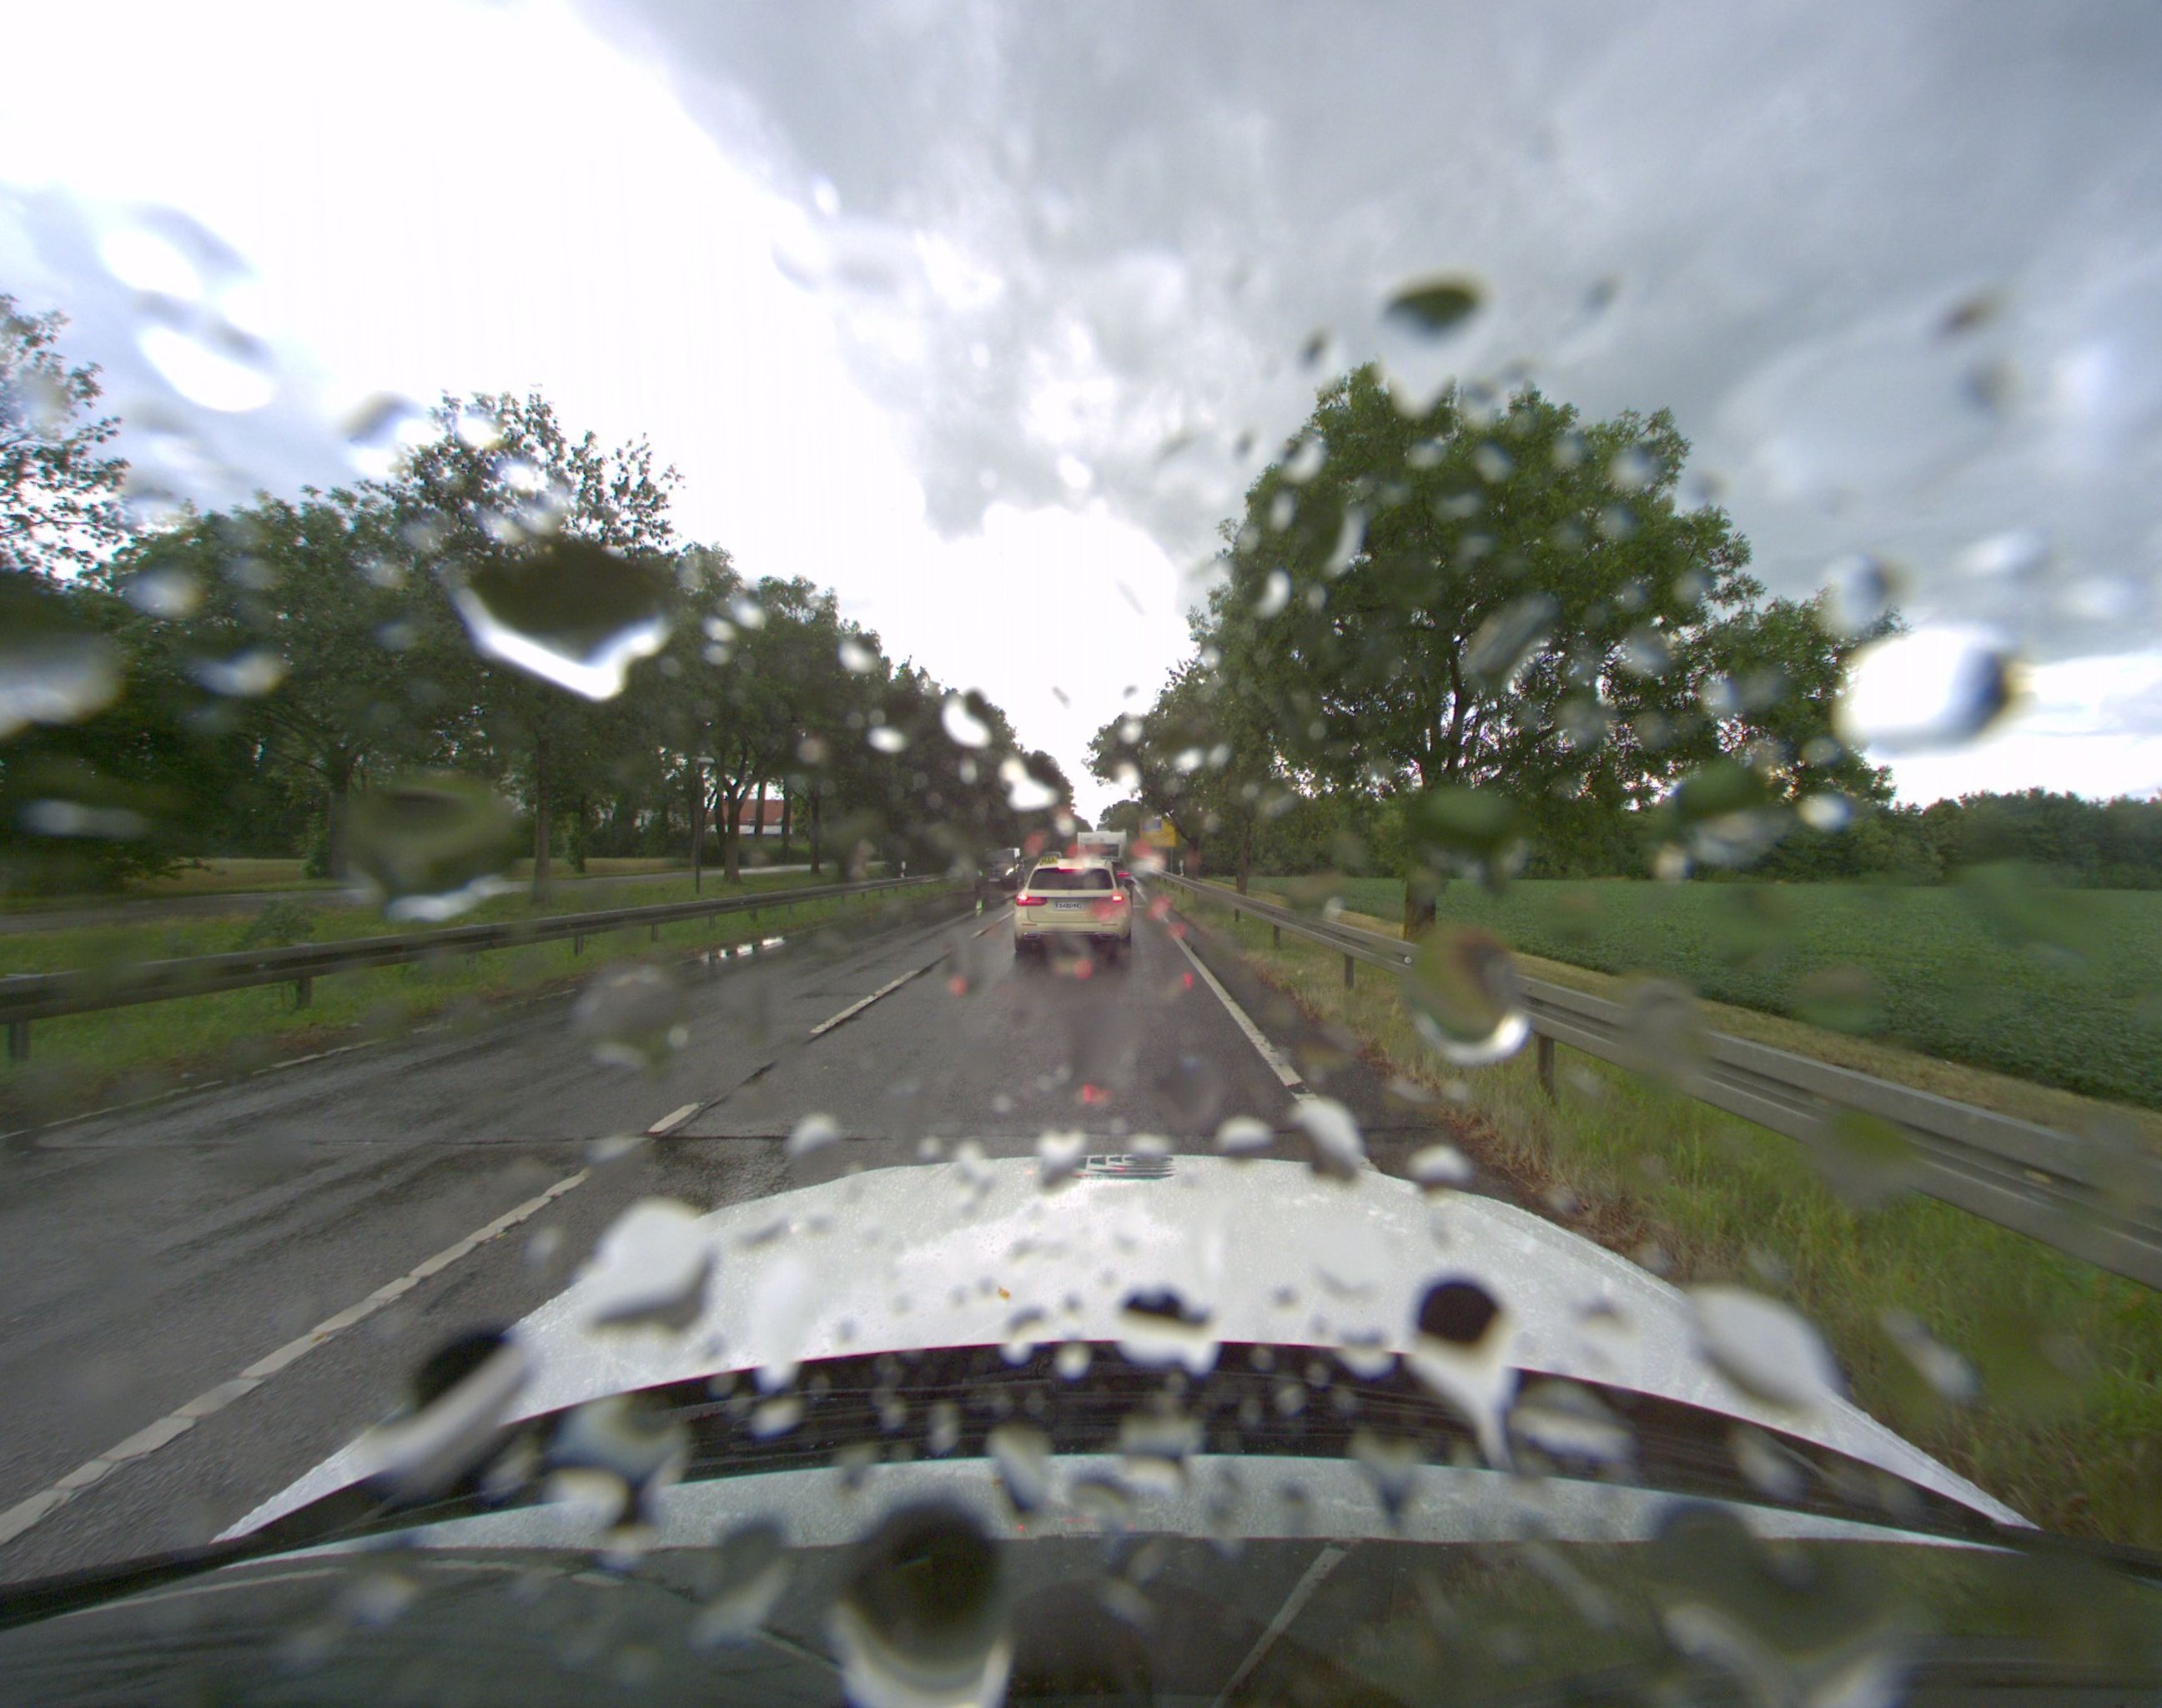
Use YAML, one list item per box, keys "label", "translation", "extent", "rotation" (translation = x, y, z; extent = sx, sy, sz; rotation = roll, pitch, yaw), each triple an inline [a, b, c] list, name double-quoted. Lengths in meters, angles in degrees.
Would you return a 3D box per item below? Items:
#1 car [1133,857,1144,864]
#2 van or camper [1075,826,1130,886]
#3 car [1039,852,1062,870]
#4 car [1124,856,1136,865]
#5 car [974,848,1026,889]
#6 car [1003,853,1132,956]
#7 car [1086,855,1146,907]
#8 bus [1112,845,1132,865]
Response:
- label: "car"
  translation: [8.401, 0.955, 120.102]
  extent: [1.545, 1.118, 4.003]
  rotation: [0, -1, 3]
- label: "van or camper"
  translation: [1.130, 0.085, 39.689]
  extent: [2.479, 2.685, 5.705]
  rotation: [0, 0, 3]
- label: "car"
  translation: [-2.454, 0.521, 66.744]
  extent: [1.622, 1.438, 3.962]
  rotation: [0, 0, 2]
- label: "car"
  translation: [6.640, 0.877, 110.972]
  extent: [1.546, 1.118, 4.001]
  rotation: [0, -1, 2]
- label: "car"
  translation: [-3.716, 0.640, 37.943]
  extent: [1.821, 1.803, 4.416]
  rotation: [-1, 0, 2]
- label: "car"
  translation: [-0.088, 0.733, 13.831]
  extent: [1.857, 1.476, 4.003]
  rotation: [-1, 0, 3]
- label: "car"
  translation: [1.090, 0.768, 24.867]
  extent: [1.657, 1.430, 4.003]
  rotation: [-1, 0, 3]
- label: "bus"
  translation: [4.342, 0.121, 86.690]
  extent: [1.986, 2.013, 4.002]
  rotation: [-1, 0, 2]
